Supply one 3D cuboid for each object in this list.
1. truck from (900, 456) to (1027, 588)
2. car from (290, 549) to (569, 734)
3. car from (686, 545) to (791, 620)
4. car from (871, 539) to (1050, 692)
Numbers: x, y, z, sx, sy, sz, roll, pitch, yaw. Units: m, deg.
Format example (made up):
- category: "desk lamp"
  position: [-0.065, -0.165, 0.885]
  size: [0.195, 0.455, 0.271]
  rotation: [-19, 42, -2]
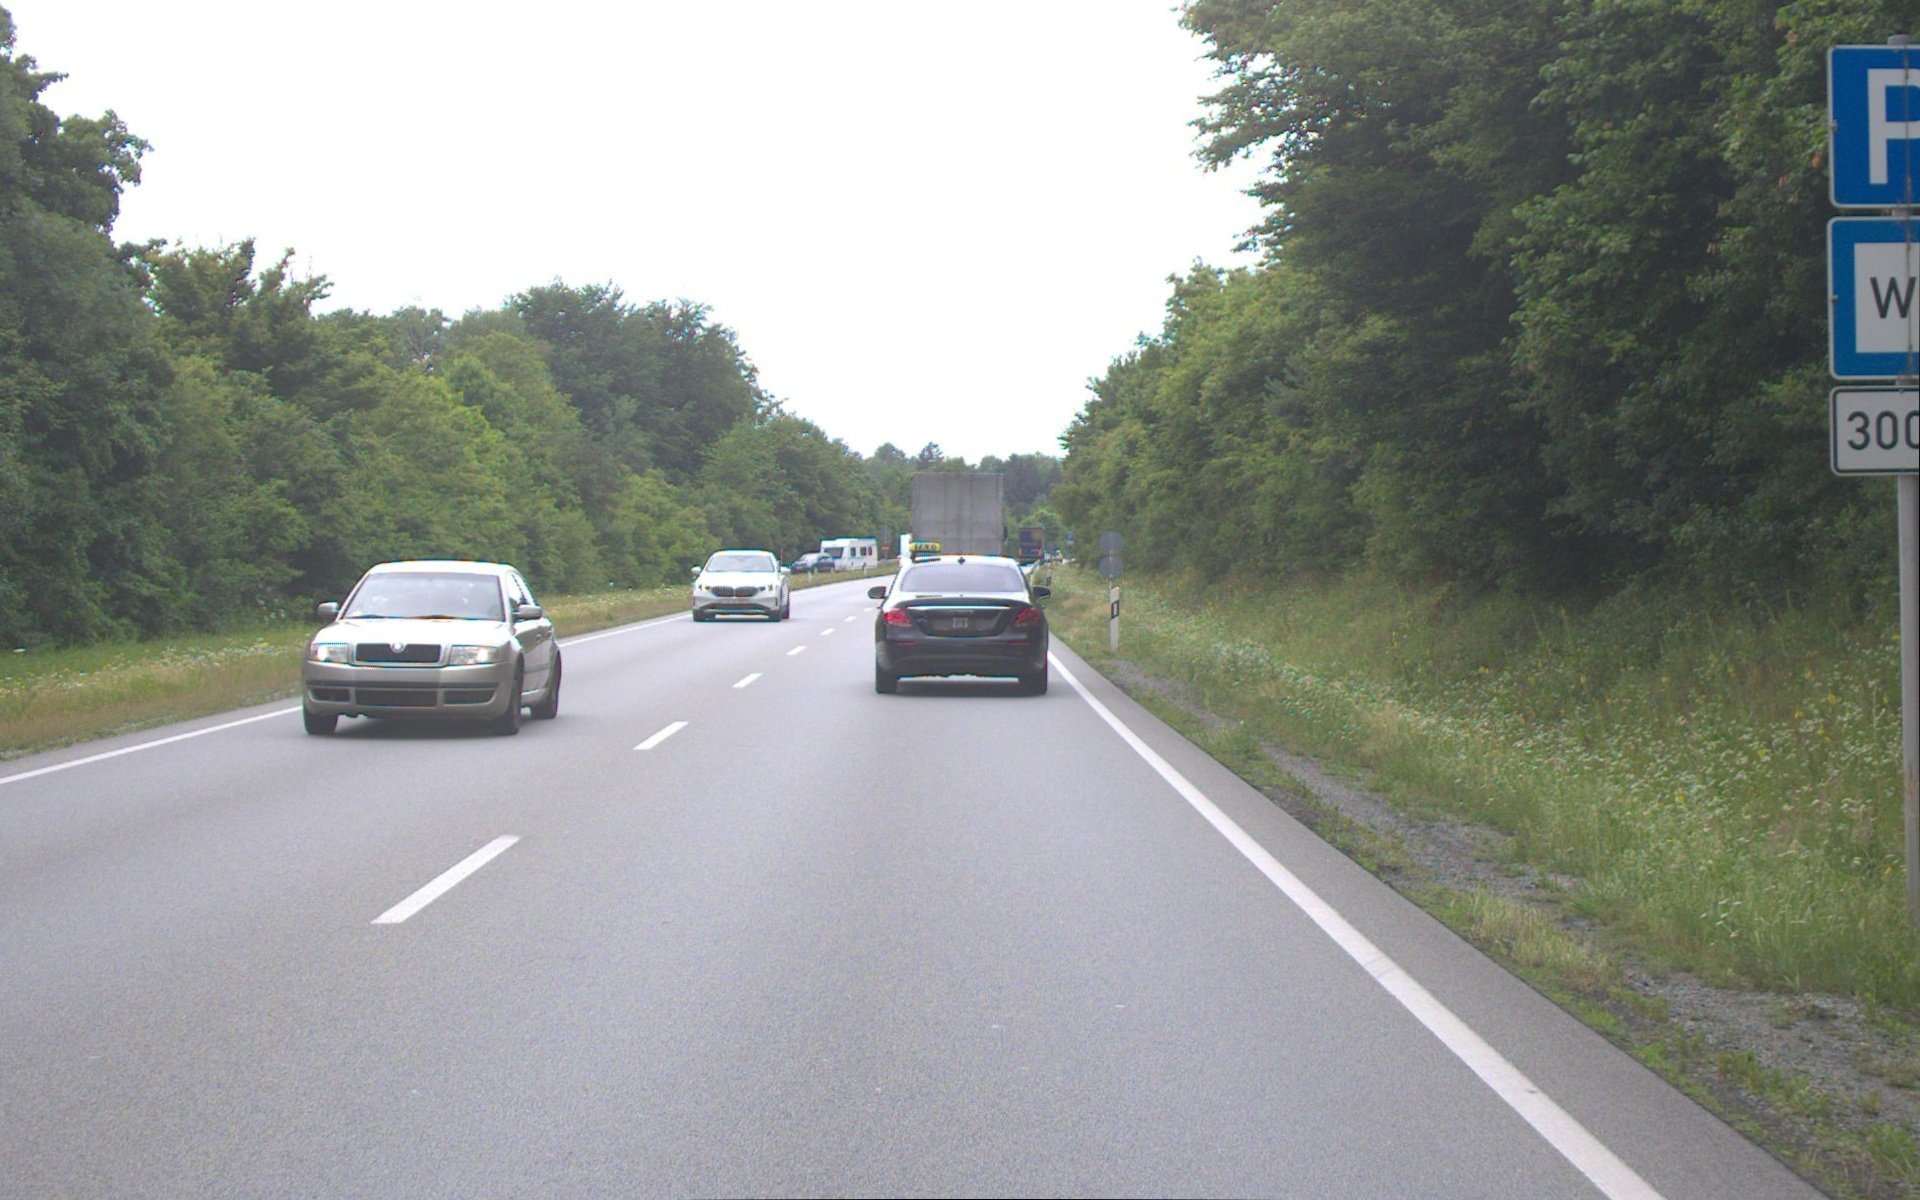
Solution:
- category: "truck"
  position: [0.199, -2.212, 100.491]
  size: [3.281, 3.599, 11.399]
  rotation: [1, 1, 2]
- category: "car"
  position: [-4.427, 0.302, 29.306]
  size: [1.725, 1.429, 4.503]
  rotation: [1, 1, -1]
- category: "car"
  position: [-4.811, -0.403, 75.461]
  size: [1.964, 1.568, 5.452]
  rotation: [1, 1, 0]
- category: "car"
  position: [-0.044, 0.137, 37.383]
  size: [1.791, 1.547, 4.000]
  rotation: [1, 1, -2]
